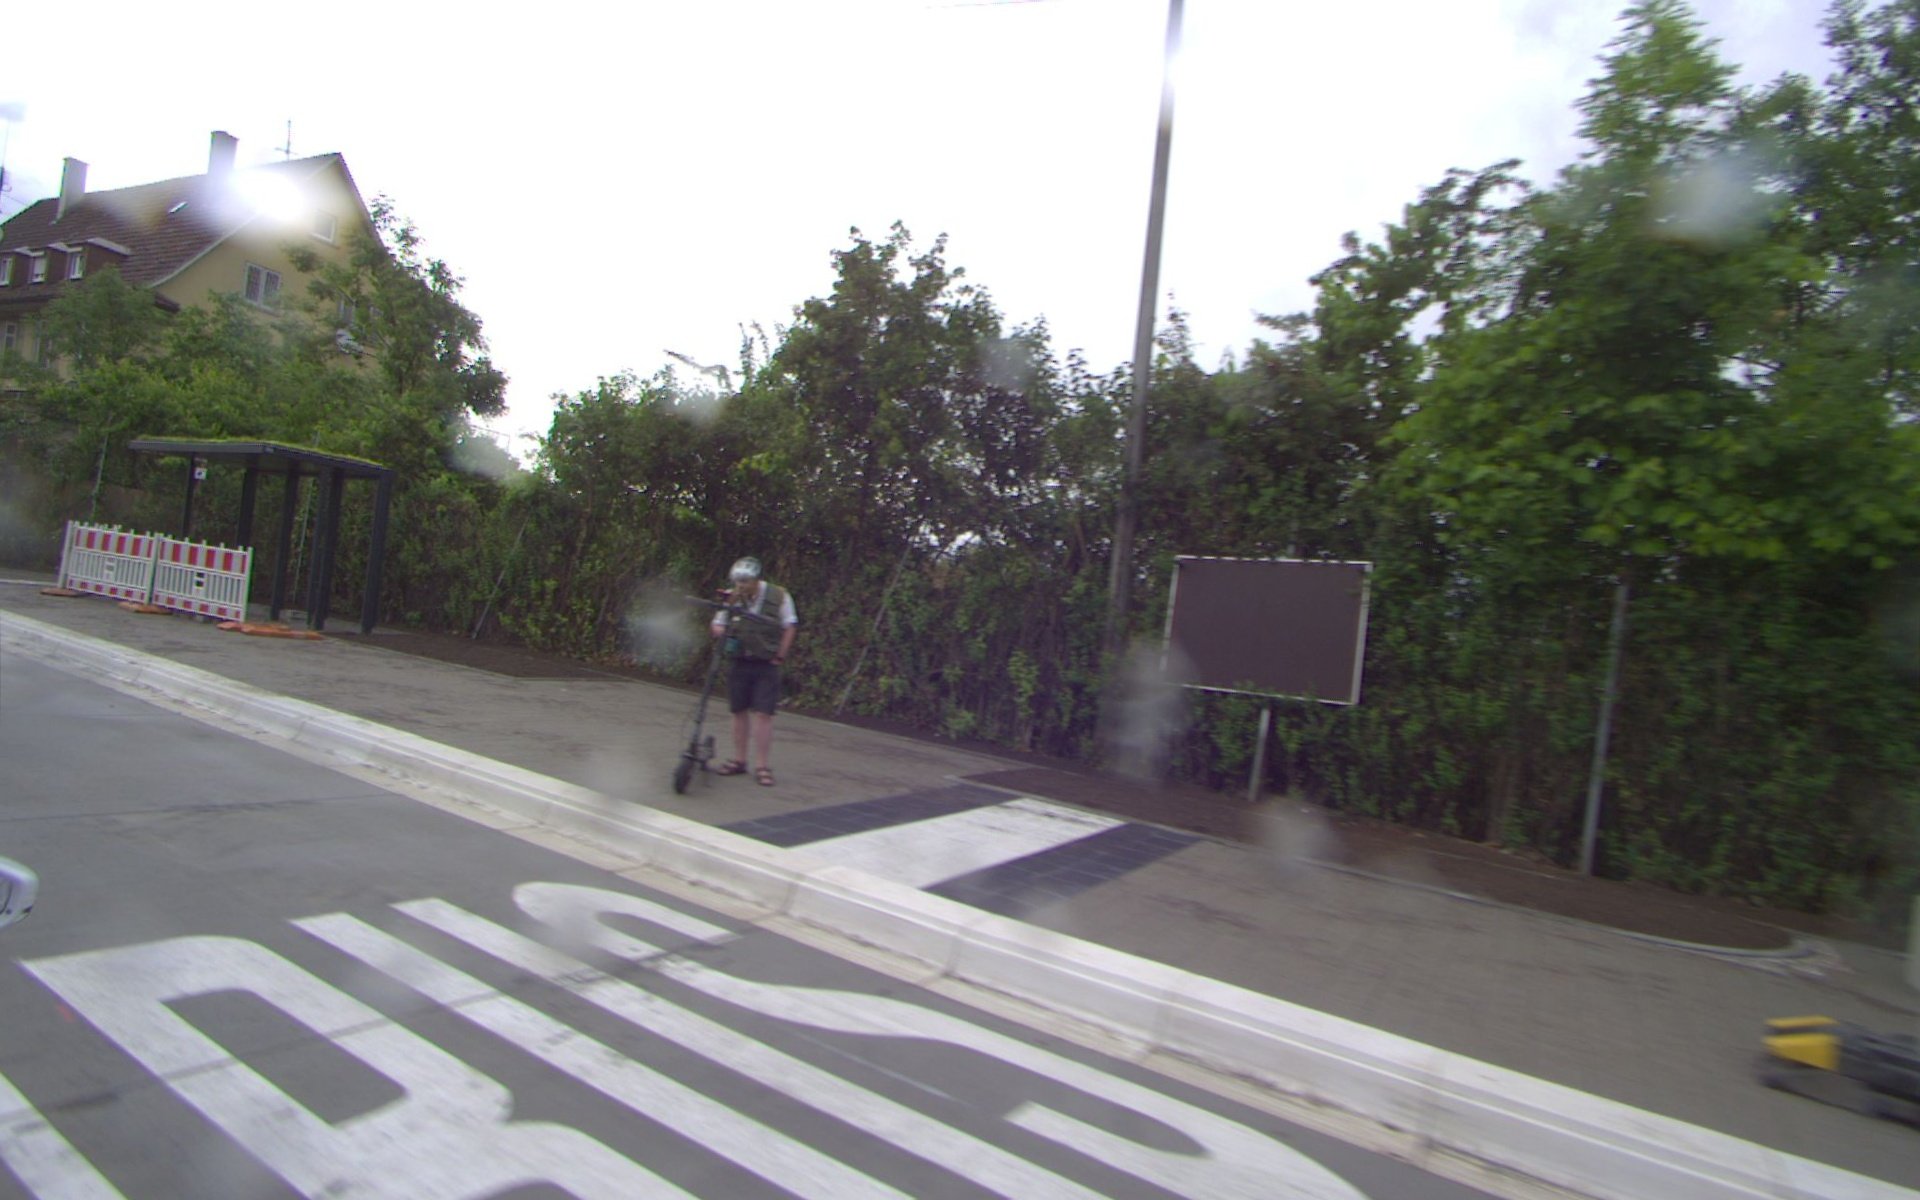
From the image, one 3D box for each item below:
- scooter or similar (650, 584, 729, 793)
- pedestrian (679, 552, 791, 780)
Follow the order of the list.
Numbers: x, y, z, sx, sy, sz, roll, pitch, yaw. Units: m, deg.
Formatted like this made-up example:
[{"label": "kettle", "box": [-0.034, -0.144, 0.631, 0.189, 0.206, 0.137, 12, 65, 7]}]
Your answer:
[{"label": "scooter or similar", "box": [-1.884, 0.577, 7.101, 0.228, 1.331, 1.242, 7, -1, -7]}, {"label": "pedestrian", "box": [-1.678, 0.481, 7.612, 0.535, 1.565, 0.920, 7, 0, -5]}]
